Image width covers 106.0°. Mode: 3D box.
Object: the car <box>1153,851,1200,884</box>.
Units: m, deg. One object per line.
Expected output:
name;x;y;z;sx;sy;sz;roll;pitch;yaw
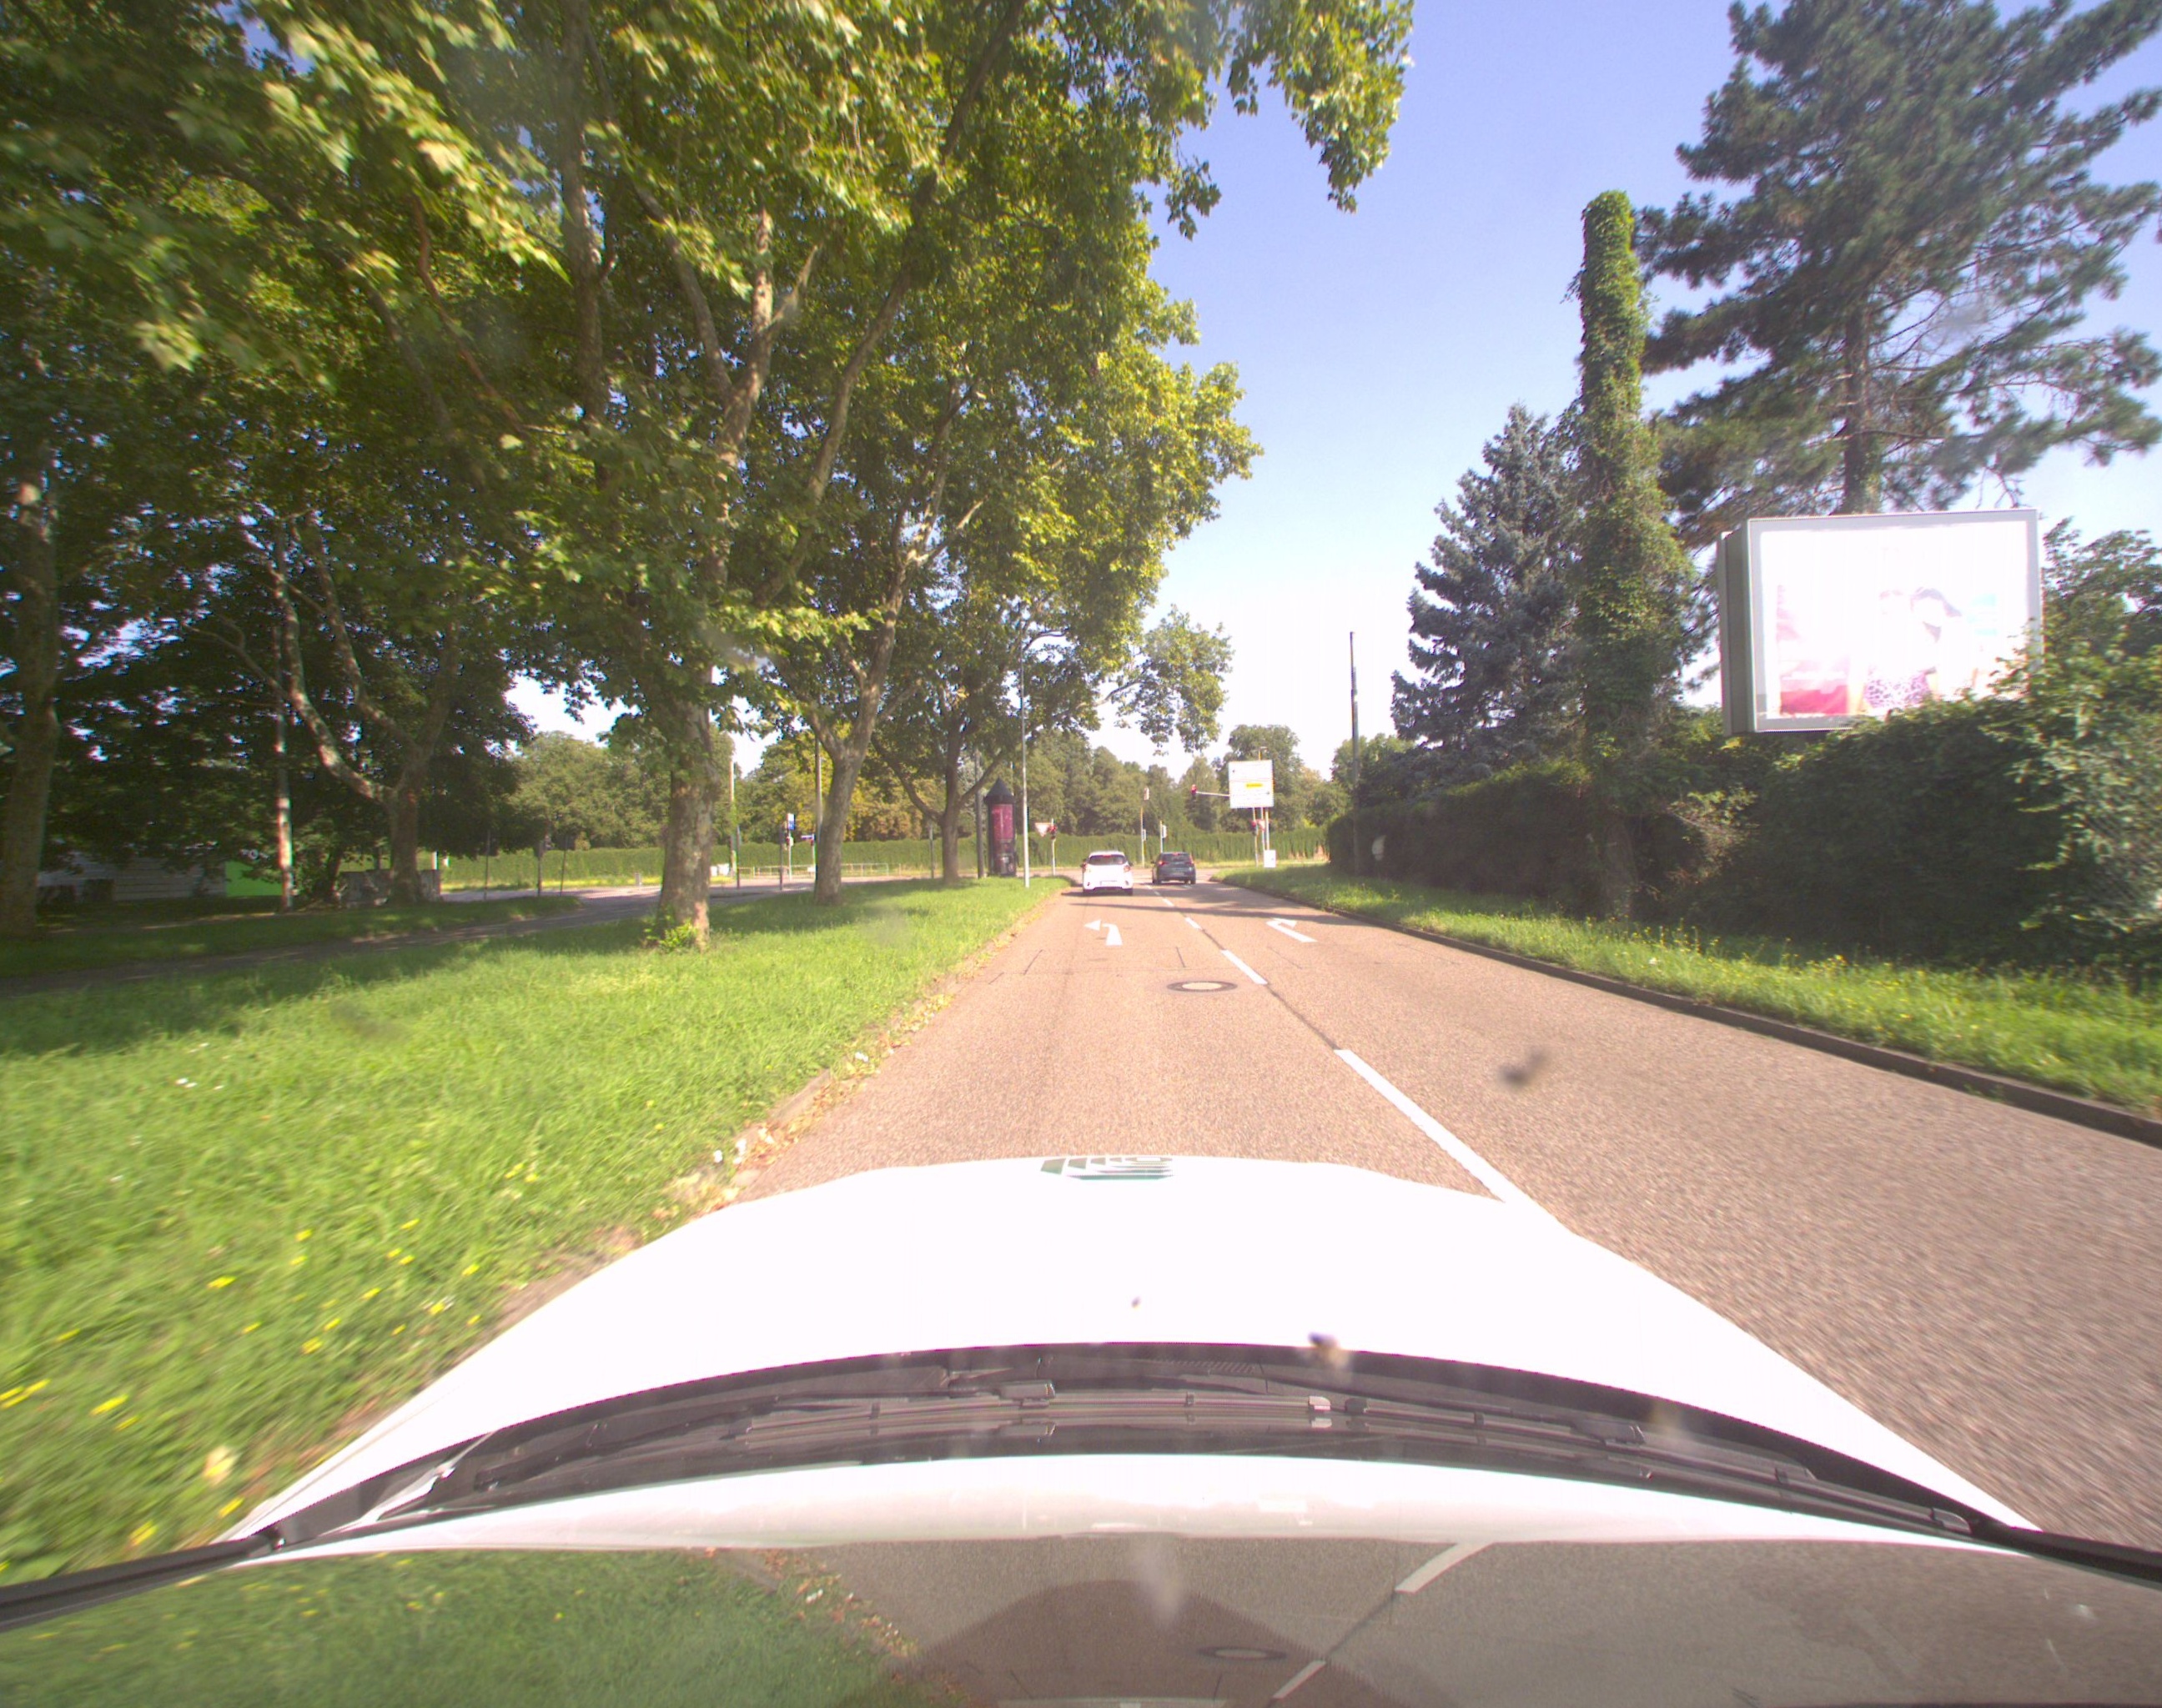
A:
car;4.304;0.582;37.280;1.791;1.401;4.001;-1;0;2

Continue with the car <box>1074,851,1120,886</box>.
car;0.769;0.613;36.356;1.679;1.462;3.856;-1;0;6

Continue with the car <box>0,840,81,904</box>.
car;-42.333;0.736;31.220;2.173;2.440;4.705;-2;0;-3

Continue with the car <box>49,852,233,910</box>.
car;-38.611;1.037;33.689;2.173;2.137;4.705;-2;0;-3

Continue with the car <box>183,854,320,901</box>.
car;-42.932;1.162;42.373;2.026;2.263;5.117;-1;0;-3

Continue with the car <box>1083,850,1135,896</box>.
car;1.029;0.631;28.764;1.680;1.462;4.003;-1;0;3
